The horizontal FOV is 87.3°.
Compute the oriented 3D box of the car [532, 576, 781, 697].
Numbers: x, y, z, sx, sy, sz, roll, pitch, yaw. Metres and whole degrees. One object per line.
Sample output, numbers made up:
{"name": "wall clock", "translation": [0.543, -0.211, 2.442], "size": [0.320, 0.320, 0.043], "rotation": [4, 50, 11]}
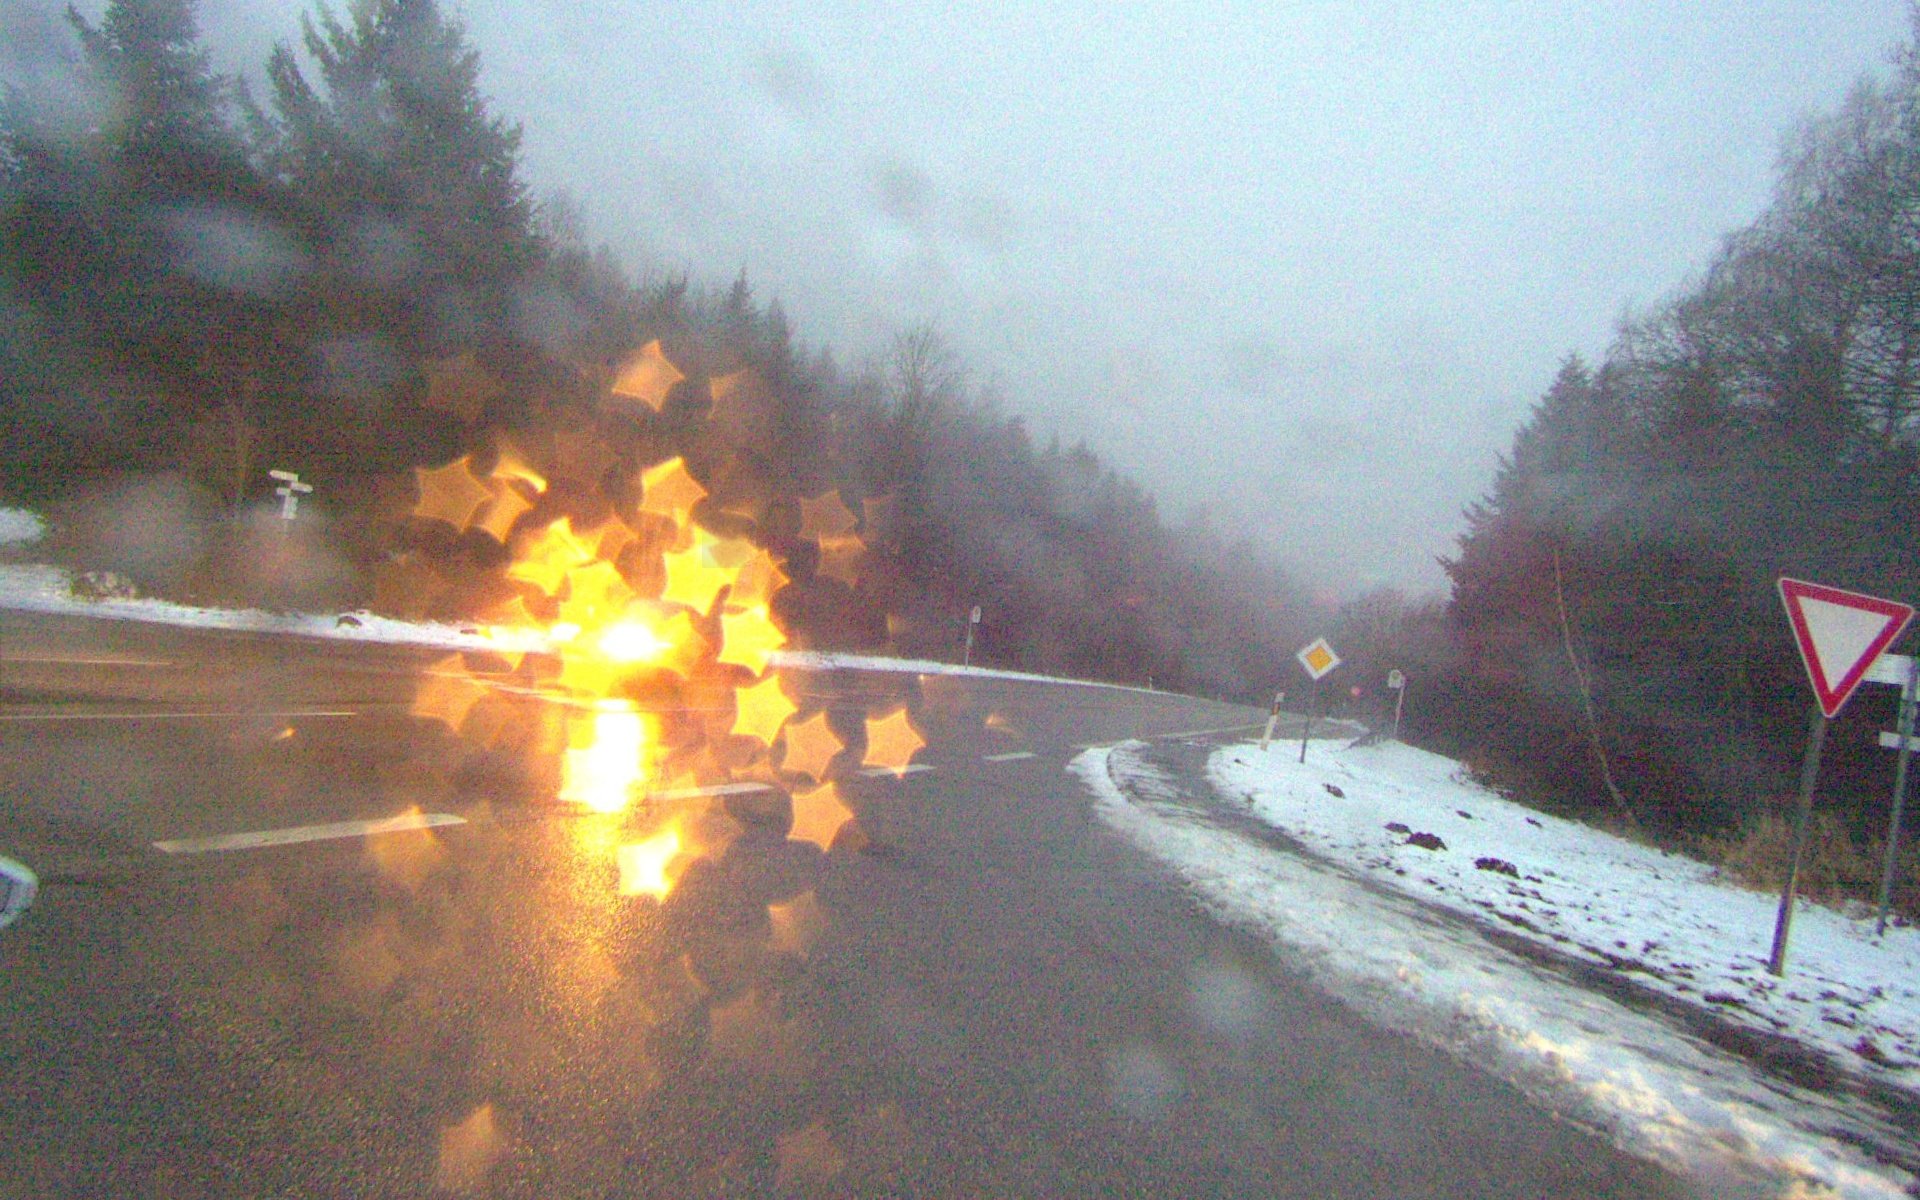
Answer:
{"name": "car", "translation": [-4.507, 0.621, 15.377], "size": [1.550, 1.469, 3.411], "rotation": [6, -2, 29]}
